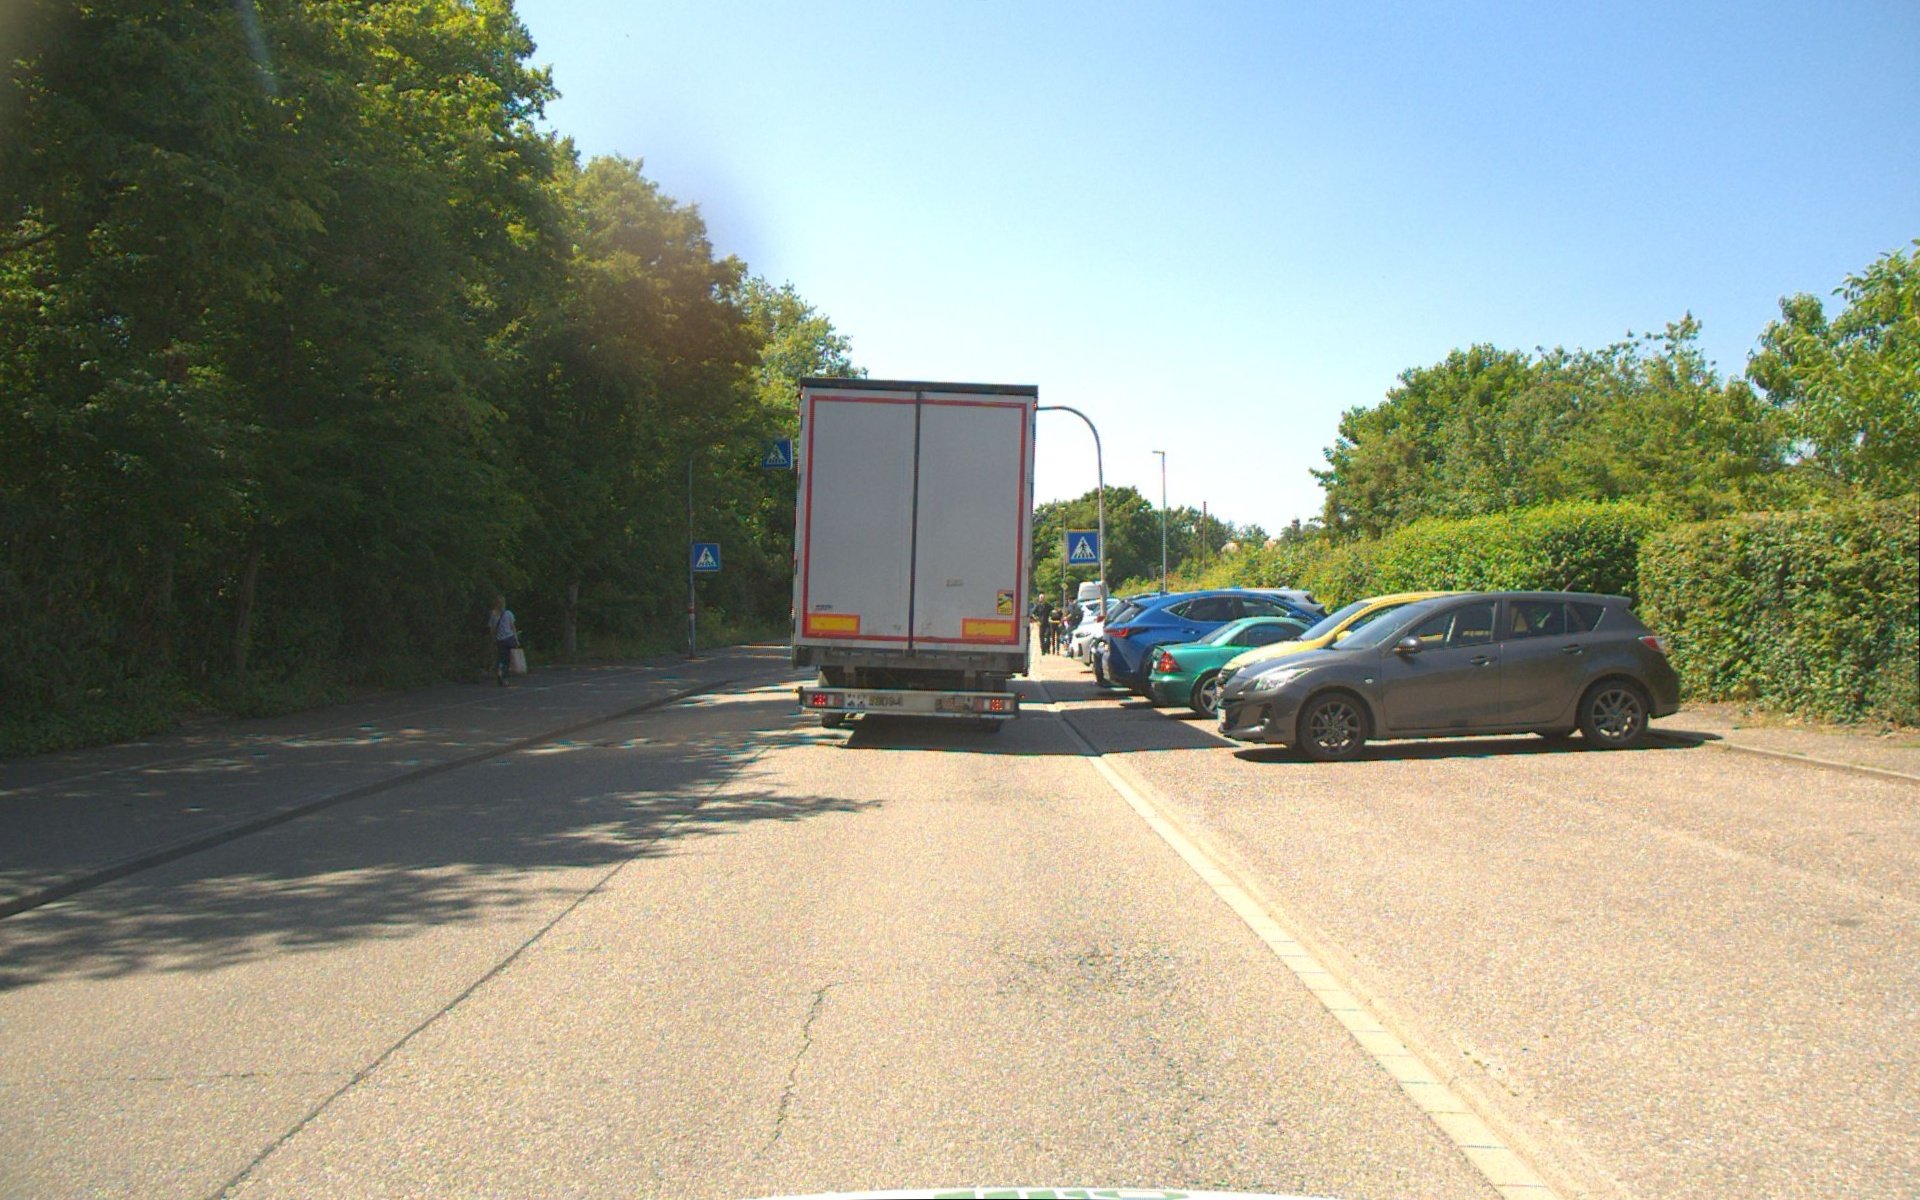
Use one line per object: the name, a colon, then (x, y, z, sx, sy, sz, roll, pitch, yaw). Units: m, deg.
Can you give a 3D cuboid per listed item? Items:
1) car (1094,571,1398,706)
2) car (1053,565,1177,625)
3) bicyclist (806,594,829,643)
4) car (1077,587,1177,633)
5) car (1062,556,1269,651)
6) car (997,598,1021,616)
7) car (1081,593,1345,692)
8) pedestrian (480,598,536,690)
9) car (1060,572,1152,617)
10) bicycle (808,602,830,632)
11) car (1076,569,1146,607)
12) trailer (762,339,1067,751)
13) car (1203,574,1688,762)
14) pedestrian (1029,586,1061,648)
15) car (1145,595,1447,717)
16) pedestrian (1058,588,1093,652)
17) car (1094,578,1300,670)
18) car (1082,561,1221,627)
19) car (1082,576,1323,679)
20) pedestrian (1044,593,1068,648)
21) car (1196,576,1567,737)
car: (4.225, 0.542, 24.897, 4.153, 1.662, 1.822, -4, 0, -1)
car: (5.295, -0.197, 56.631, 3.880, 1.696, 1.812, -4, 3, -5)
bicyclist: (-5.304, 0.682, 61.744, 0.701, 1.789, 0.796, -1, 0, 4)
car: (6.970, 0.406, 69.185, 3.878, 1.647, 1.812, -3, 0, -3)
car: (4.626, 0.078, 37.661, 4.317, 1.727, 1.876, -5, 0, -2)
car: (4.545, 0.644, 151.515, 1.743, 1.512, 4.004, -1, 1, 8)
car: (4.223, 0.682, 27.903, 4.051, 1.464, 1.812, -2, 0, -7)
pedestrian: (-8.249, 0.790, 30.224, 0.811, 1.651, 0.783, 0, 1, -2)
car: (6.623, -0.254, 75.164, 3.878, 1.796, 1.812, -4, 0, -3)
bicycle: (-5.279, 0.637, 62.076, 0.444, 1.065, 2.205, -1, 0, 5)
car: (8.752, -0.685, 95.832, 3.874, 1.829, 1.814, -5, -2, 3)
trailer: (-0.426, -0.596, 22.829, 3.049, 4.174, 11.537, -1, 0, 0)
car: (4.556, 0.614, 15.966, 4.079, 1.521, 1.882, -3, 0, -1)
pedestrian: (2.687, 0.525, 52.200, 0.804, 1.866, 0.793, -5, 0, 6)
car: (4.424, 0.721, 22.138, 3.659, 1.290, 1.628, -5, 0, 1)
pedestrian: (3.465, 0.600, 49.469, 0.888, 1.829, 0.936, -5, 0, 6)
car: (4.963, 0.490, 35.042, 4.041, 1.686, 1.887, -3, 0, 1)
car: (5.877, -0.177, 50.939, 3.880, 1.697, 1.811, -5, 0, -5)
car: (4.472, 0.522, 30.951, 4.150, 1.682, 1.899, -3, -1, -2)
pedestrian: (2.988, 0.620, 51.444, 0.577, 1.642, 0.745, -5, 0, 6)
car: (4.765, 0.617, 19.057, 3.725, 1.480, 1.774, -5, 0, -1)
